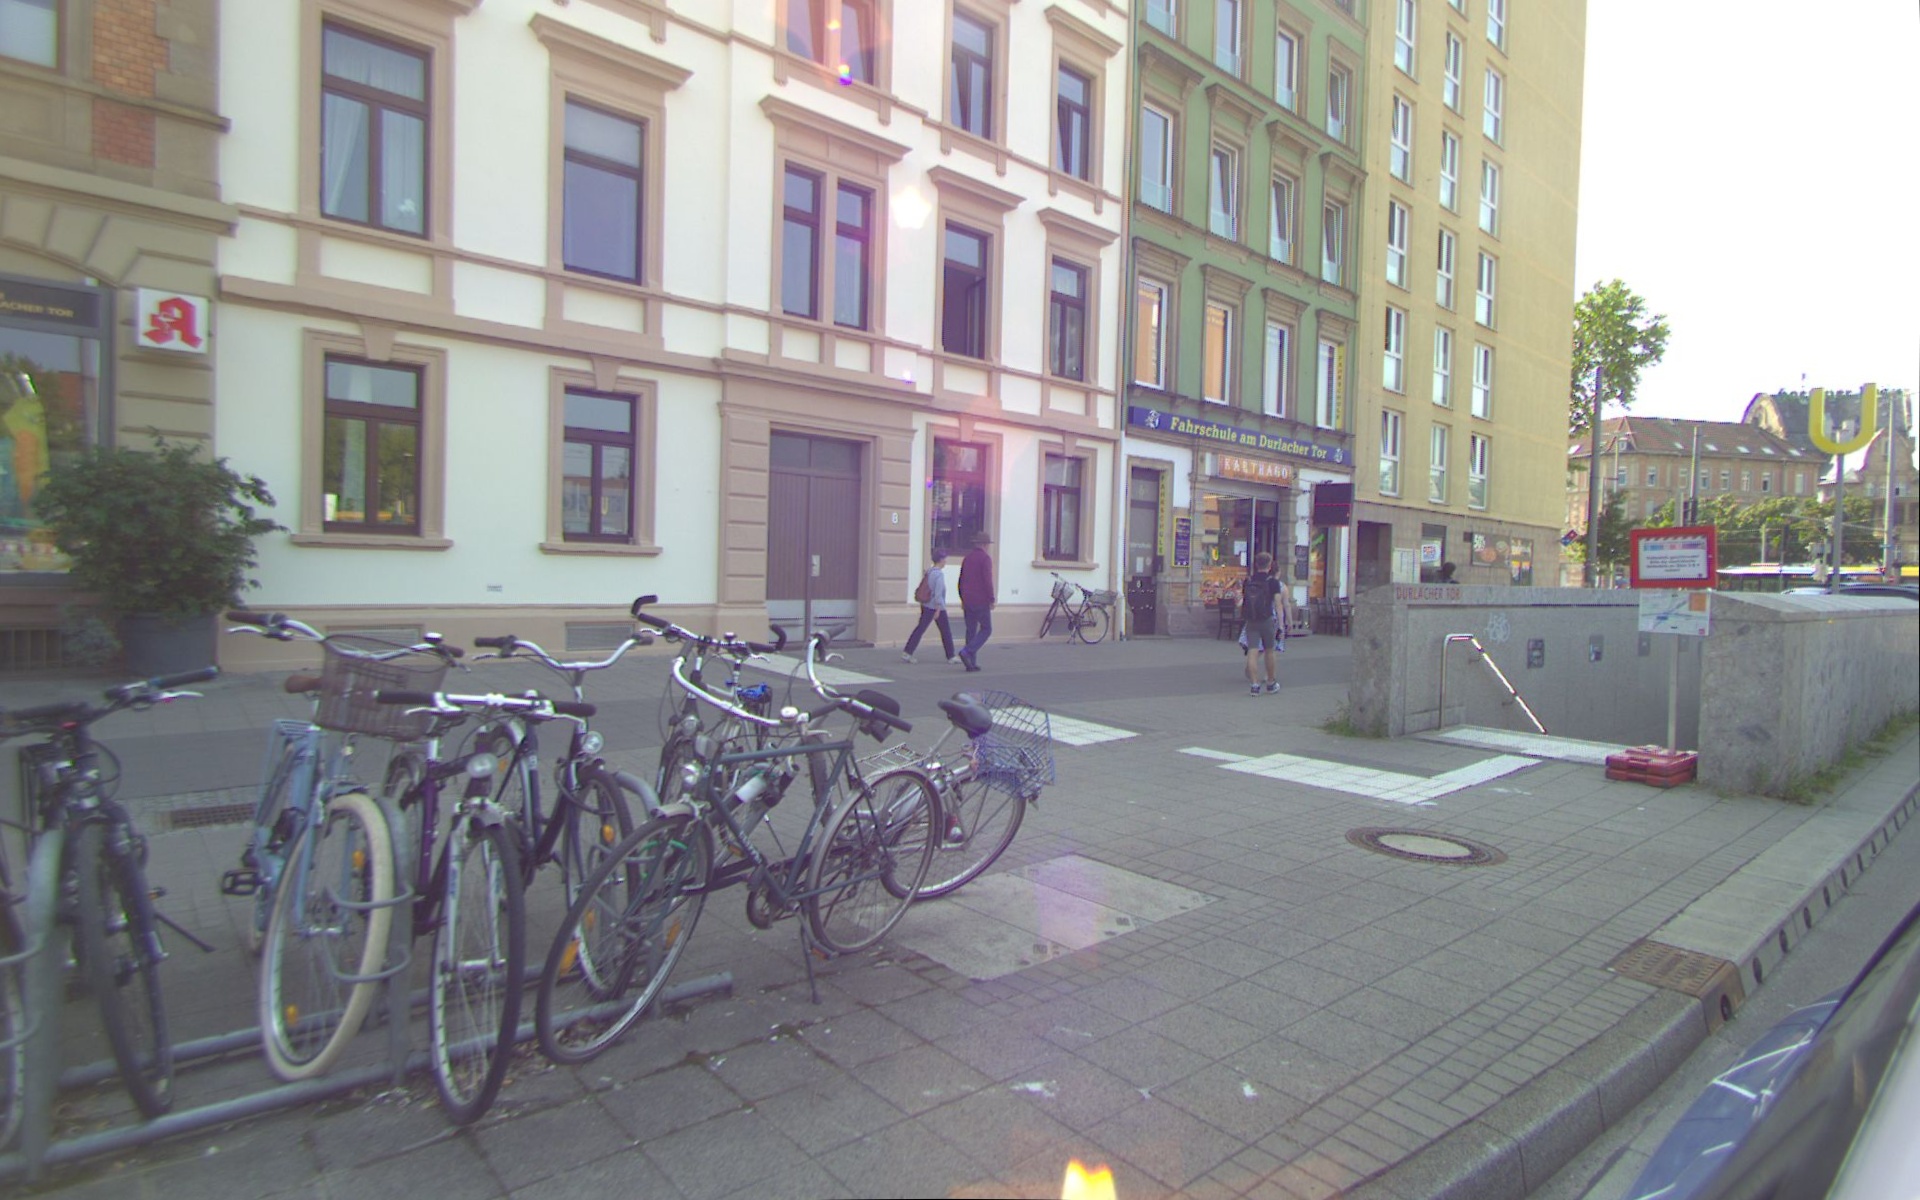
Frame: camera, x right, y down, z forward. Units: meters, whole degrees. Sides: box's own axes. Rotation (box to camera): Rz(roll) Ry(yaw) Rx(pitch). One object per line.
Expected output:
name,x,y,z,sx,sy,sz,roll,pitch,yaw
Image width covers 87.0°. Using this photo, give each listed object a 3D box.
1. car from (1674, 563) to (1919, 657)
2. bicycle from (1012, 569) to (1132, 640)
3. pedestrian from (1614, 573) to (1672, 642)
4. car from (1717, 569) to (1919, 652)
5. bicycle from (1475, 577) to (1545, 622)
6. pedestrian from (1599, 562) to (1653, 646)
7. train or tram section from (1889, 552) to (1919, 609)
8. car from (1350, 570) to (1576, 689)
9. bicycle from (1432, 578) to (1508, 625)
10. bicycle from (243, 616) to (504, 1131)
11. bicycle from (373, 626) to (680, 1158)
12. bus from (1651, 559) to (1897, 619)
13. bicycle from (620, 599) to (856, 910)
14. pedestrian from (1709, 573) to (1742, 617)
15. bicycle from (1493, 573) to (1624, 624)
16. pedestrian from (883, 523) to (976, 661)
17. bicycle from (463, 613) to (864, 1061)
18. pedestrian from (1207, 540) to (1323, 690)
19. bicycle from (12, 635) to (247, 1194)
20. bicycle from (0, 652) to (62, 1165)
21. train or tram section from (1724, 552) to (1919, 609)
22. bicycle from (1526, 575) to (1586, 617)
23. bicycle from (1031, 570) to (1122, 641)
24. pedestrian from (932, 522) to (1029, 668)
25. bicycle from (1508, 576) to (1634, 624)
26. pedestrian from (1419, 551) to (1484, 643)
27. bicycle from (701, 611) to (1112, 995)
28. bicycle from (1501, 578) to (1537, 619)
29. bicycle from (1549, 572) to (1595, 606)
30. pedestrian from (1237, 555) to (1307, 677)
car,17.658,0.176,20.614,4.587,1.735,2.040,2,2,8
bicycle,2.000,0.100,17.817,2.426,1.161,0.481,3,0,-39
pedestrian,16.531,0.171,24.528,0.841,1.601,0.966,2,2,16
car,20.187,0.212,22.956,4.319,1.708,1.983,2,2,8
bicycle,16.308,-0.021,29.983,2.378,1.253,0.941,0,2,-38
pedestrian,14.154,0.072,21.497,0.926,1.706,0.672,0,2,-41
train or tram section,61.726,-1.017,59.046,2.543,3.604,12.237,1,2,-7
car,7.289,0.373,14.538,3.556,1.458,1.634,1,2,-41
bicycle,14.267,0.038,28.285,2.378,1.253,0.941,0,2,-38
bicycle,-1.872,0.629,3.098,0.358,1.085,1.839,2,0,-40
bicycle,-1.316,0.652,2.906,0.358,1.085,1.540,2,0,-40
bus,47.521,-0.797,59.907,2.677,3.102,12.110,1,2,-14
bicycle,-0.910,0.573,4.559,0.679,1.133,1.563,1,0,1
pedestrian,28.855,-0.195,38.132,0.934,1.628,0.792,-1,3,-44
bicycle,18.519,-0.059,31.386,3.314,1.422,0.900,2,2,14
pedestrian,-0.410,-0.116,13.763,1.000,1.796,0.685,1,1,-41
bicycle,-1.160,0.629,3.529,0.375,1.085,2.123,2,0,-44
pedestrian,3.744,0.174,12.431,0.952,1.750,0.853,3,1,-34
bicycle,-2.228,0.649,2.721,0.358,1.029,1.540,2,0,-40
bicycle,-2.589,0.669,2.597,0.358,0.964,1.540,2,0,-40
train or tram section,60.258,-1.500,71.163,2.543,3.604,12.237,1,2,-7
bicycle,18.481,-0.117,31.379,1.514,1.254,0.593,1,1,-8
bicycle,2.076,0.079,17.892,1.815,1.198,0.459,0,2,-41
pedestrian,0.265,-0.071,13.055,1.000,1.796,0.685,1,1,-41
bicycle,19.864,-0.010,32.990,3.314,1.422,0.900,2,2,14
pedestrian,8.888,-0.069,18.334,0.841,1.601,0.966,2,2,16
bicycle,-0.133,0.607,3.638,1.479,1.084,0.476,0,2,-41
bicycle,17.527,-0.058,31.708,1.797,1.253,0.409,0,2,-44
bicycle,23.495,-0.435,38.807,2.392,1.254,0.793,0,2,-41
pedestrian,4.269,0.193,13.915,0.841,1.601,0.966,2,2,16
